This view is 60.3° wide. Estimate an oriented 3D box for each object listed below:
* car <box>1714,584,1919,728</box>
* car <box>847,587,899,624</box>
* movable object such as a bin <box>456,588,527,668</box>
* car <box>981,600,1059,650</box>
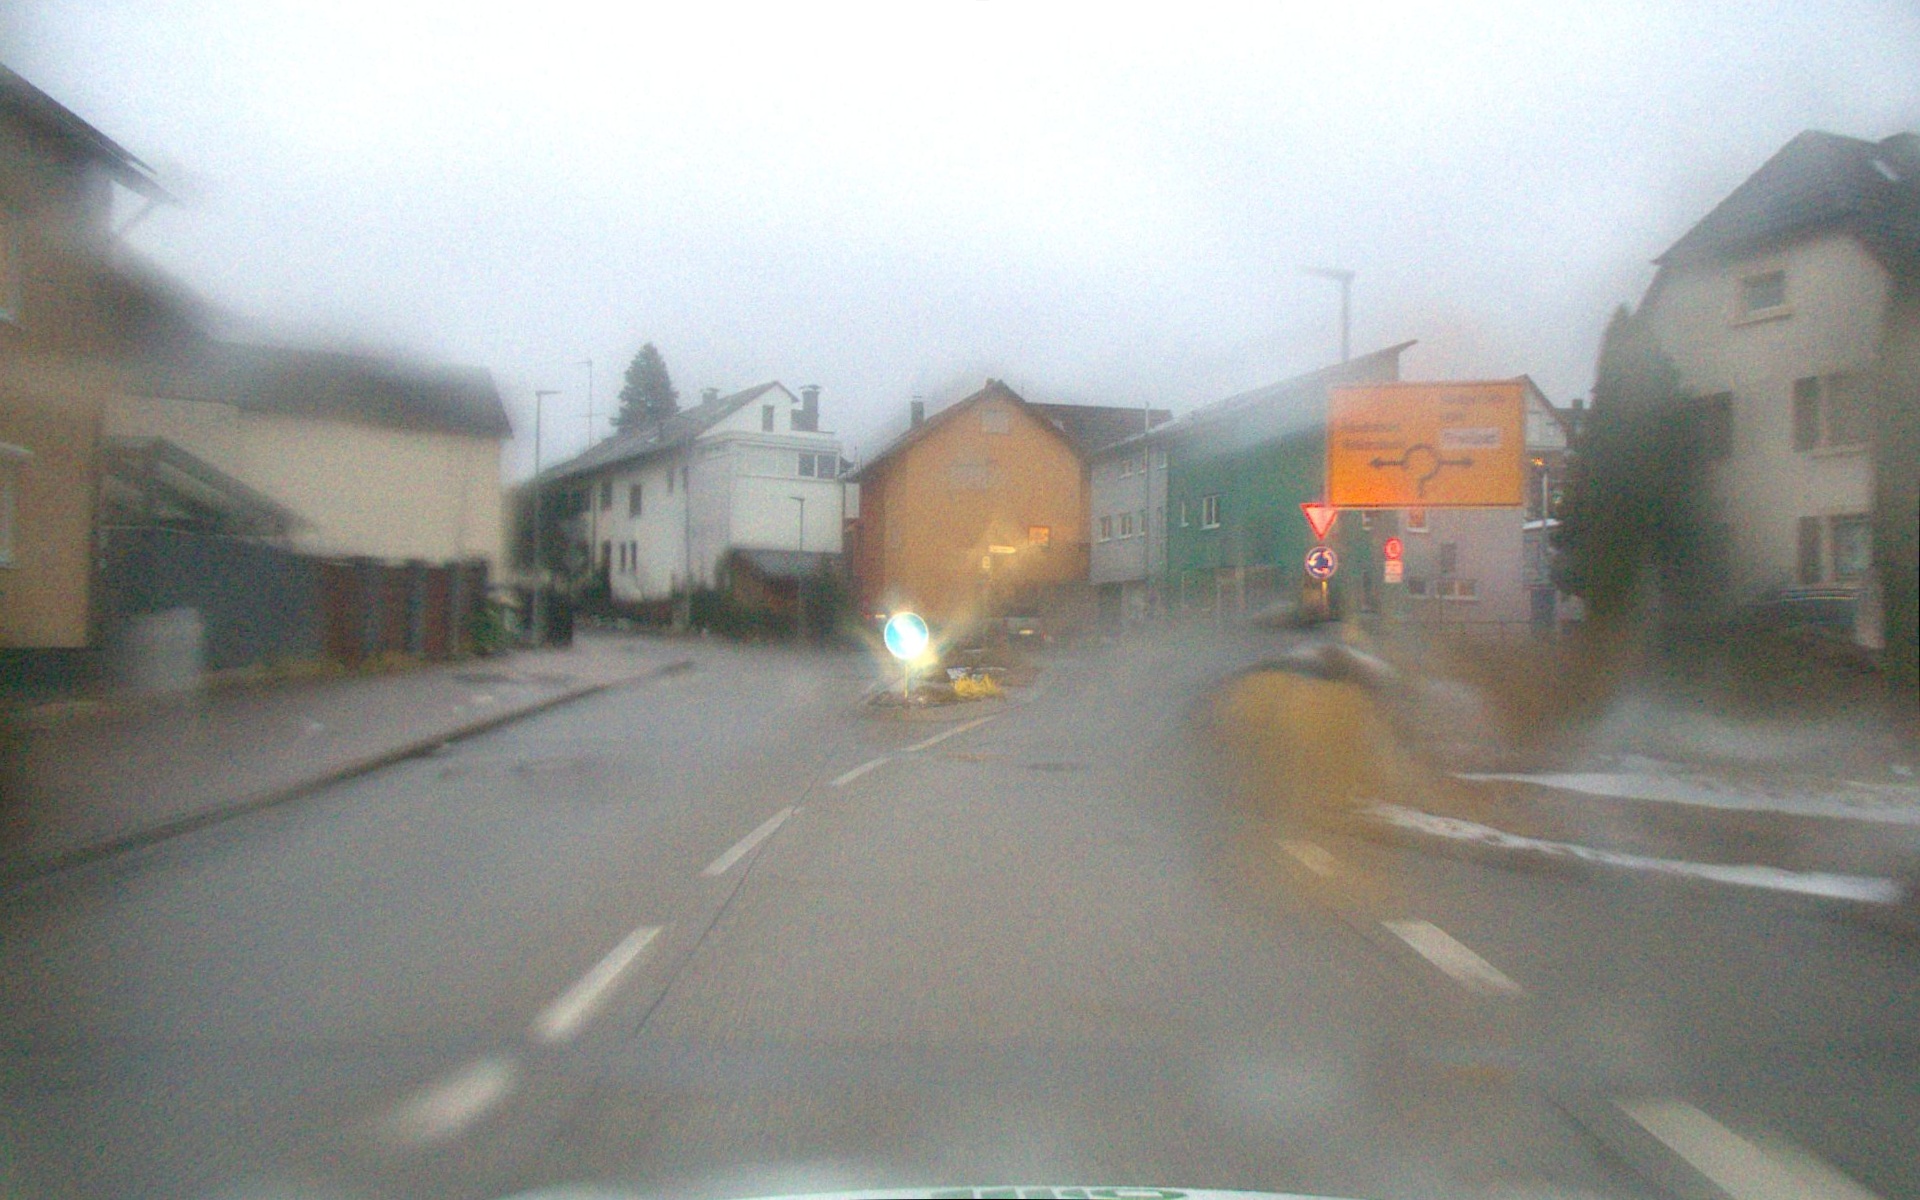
[{"bbox_3d":[11.654,0.639,20.007,1.787,1.657,4.514,-2,0,-25],"label":"car"},{"bbox_3d":[-4.126,0.232,77.805,1.957,1.673,3.991,1,0,-10],"label":"car"},{"bbox_3d":[-9.404,0.561,33.246,1.074,1.570,1.288,0,0,-2],"label":"movable object such as a bin"},{"bbox_3d":[2.097,0.866,58.683,1.957,1.673,3.991,1,0,-10],"label":"car"}]
